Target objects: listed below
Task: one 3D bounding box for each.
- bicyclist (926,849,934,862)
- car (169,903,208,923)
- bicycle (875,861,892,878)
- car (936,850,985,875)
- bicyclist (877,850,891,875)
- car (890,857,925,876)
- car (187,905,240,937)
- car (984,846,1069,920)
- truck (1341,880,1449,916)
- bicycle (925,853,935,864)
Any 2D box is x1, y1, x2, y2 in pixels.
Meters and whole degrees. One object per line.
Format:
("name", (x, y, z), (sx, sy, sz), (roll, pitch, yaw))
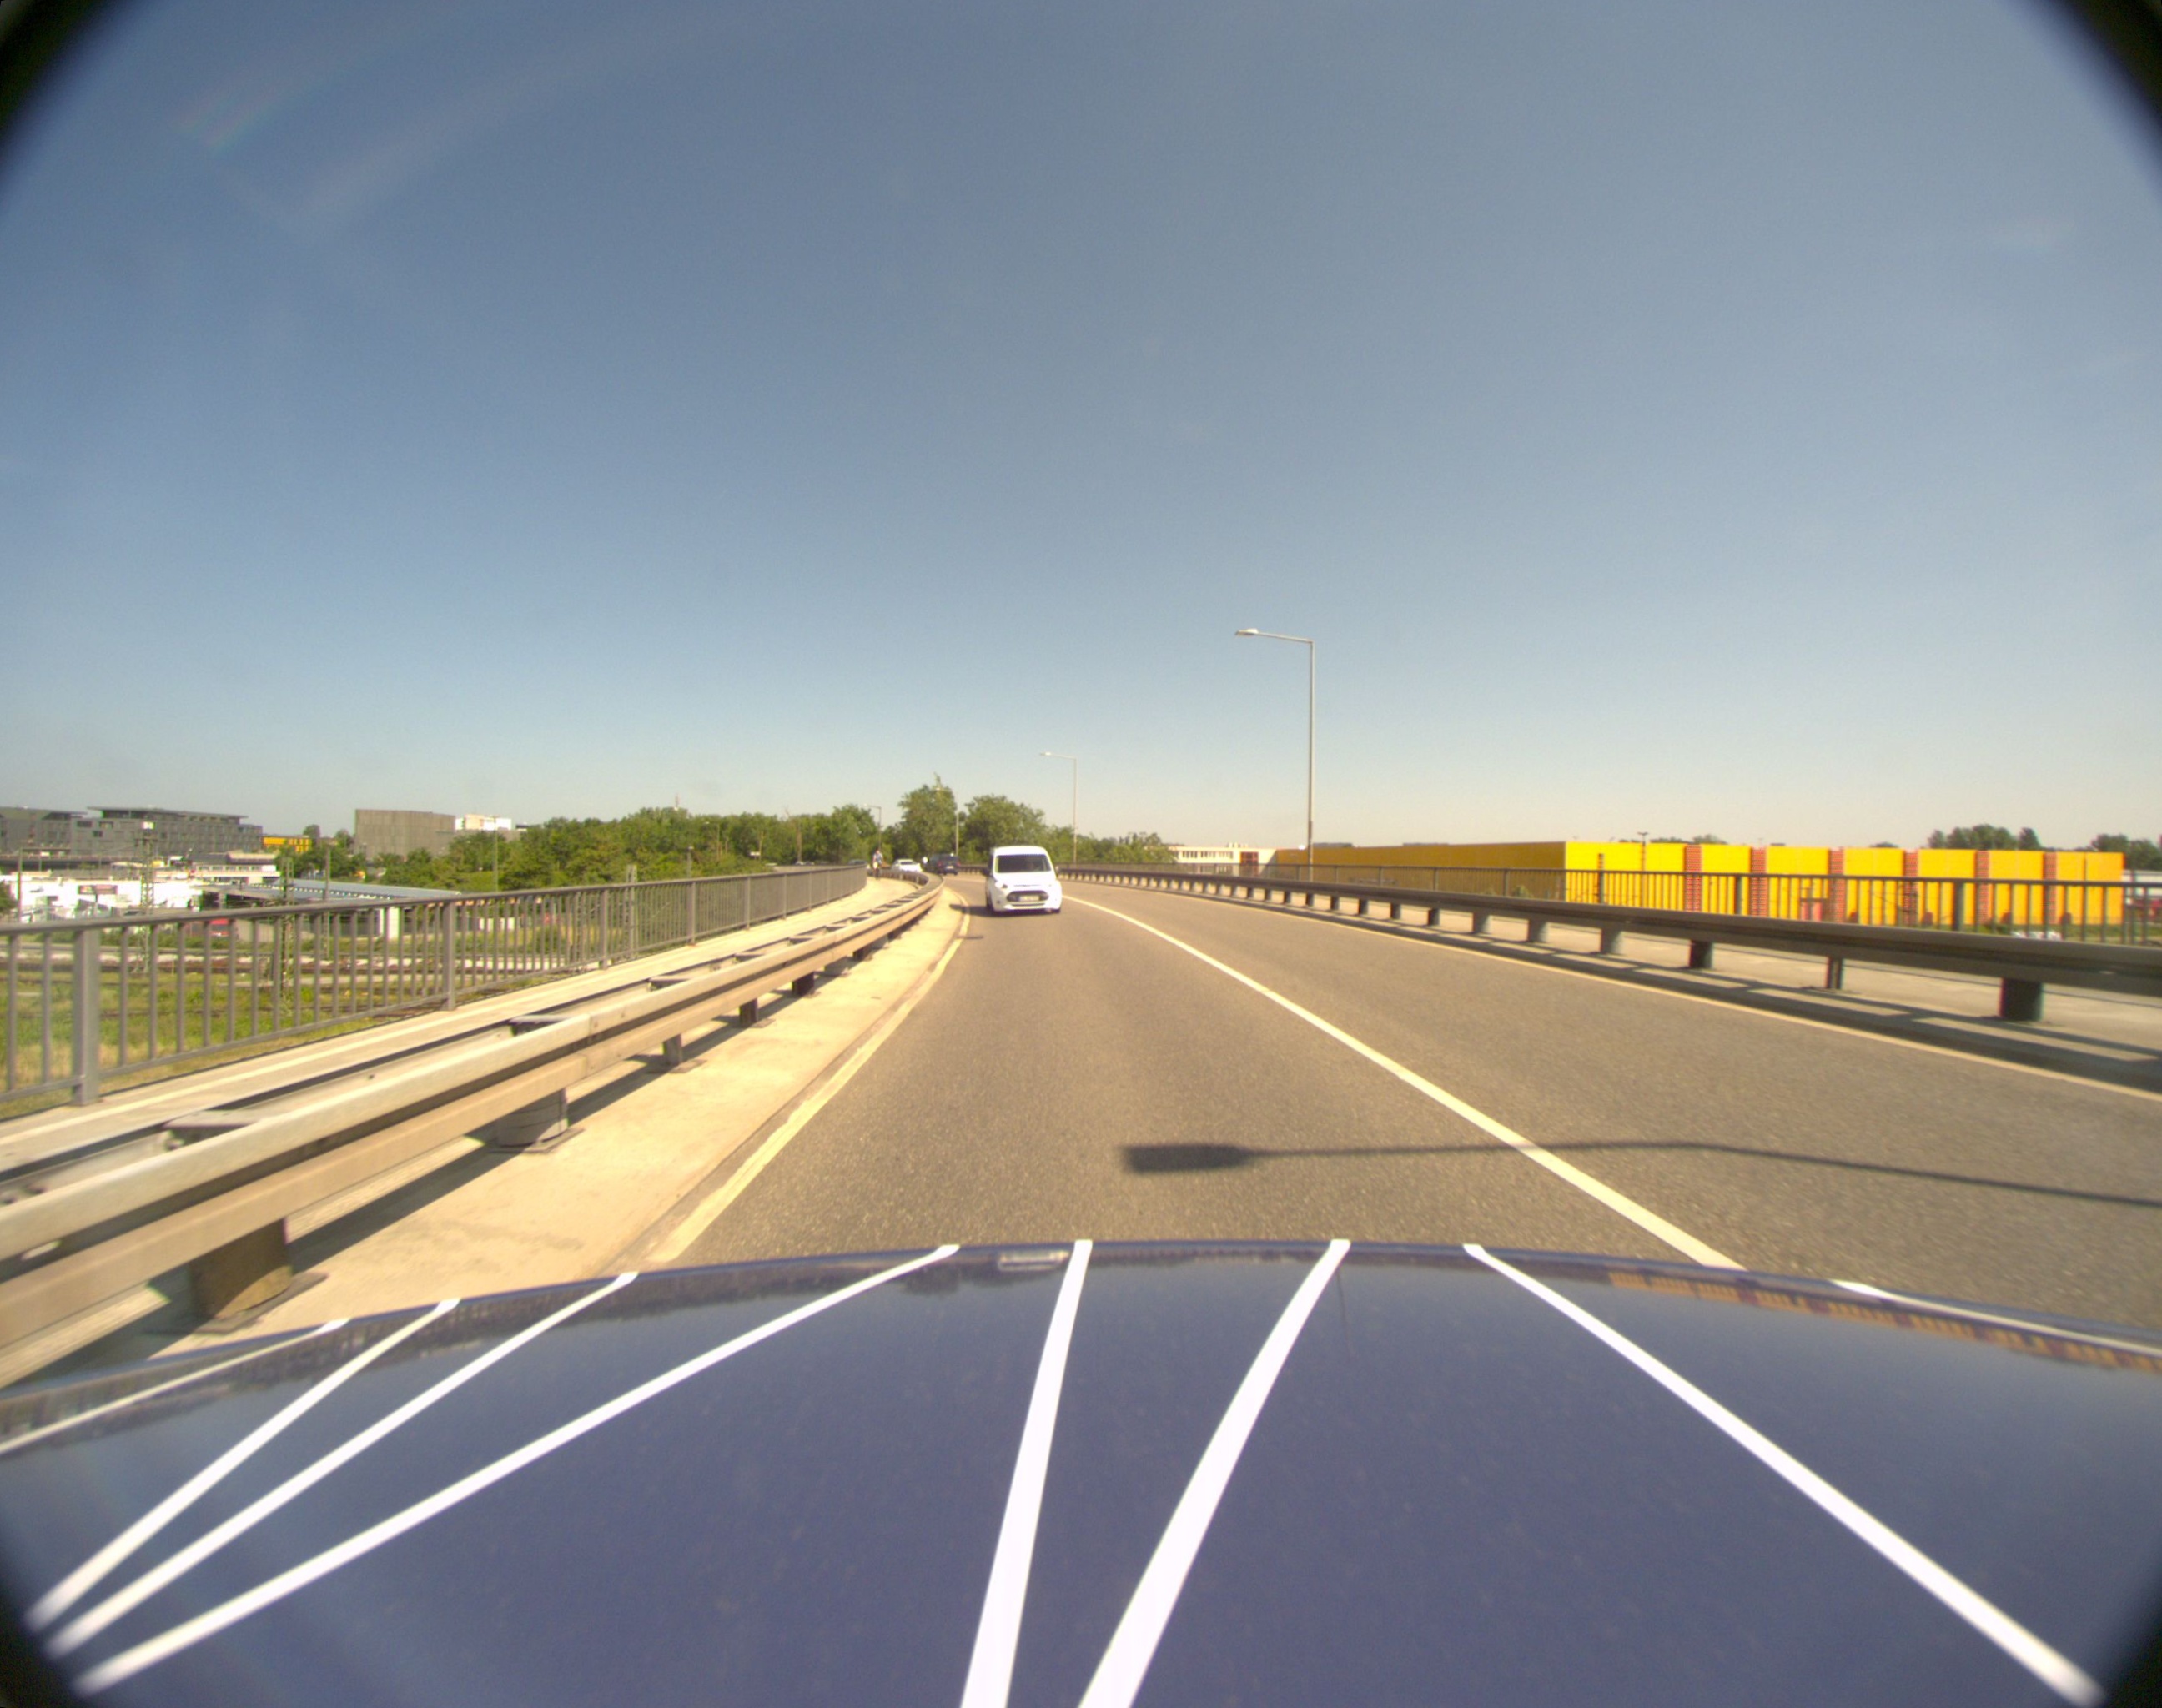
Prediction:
("bicyclist", (-16.681, 0.193, 83.777), (0.611, 1.430, 1.076), (1, 0, -24))
("car", (-101.512, 6.680, 86.414), (3.989, 1.861, 2.002), (-2, 5, 30))
("bicycle", (-12.059, 0.968, 46.404), (0.705, 1.013, 1.843), (3, -2, -22))
("car", (-9.999, 0.705, 62.756), (2.085, 1.878, 5.901), (-4, 1, -28))
("bicyclist", (-12.056, 0.524, 46.436), (0.661, 1.511, 0.801), (2, 0, -24))
("car", (-14.321, 1.014, 62.590), (1.849, 1.480, 4.143), (-2, 0, -26))
("car", (-89.558, 6.846, 78.431), (5.363, 2.650, 2.311), (1, 6, 30))
("car", (-1.619, 0.711, 20.961), (1.899, 1.785, 4.443), (-2, 0, -9))
("truck", (55.917, 7.747, 135.691), (17.553, 5.644, 5.969), (-1, 1, -12))
("bicycle", (-16.672, 0.494, 83.734), (0.615, 1.128, 2.145), (2, -1, -23))
